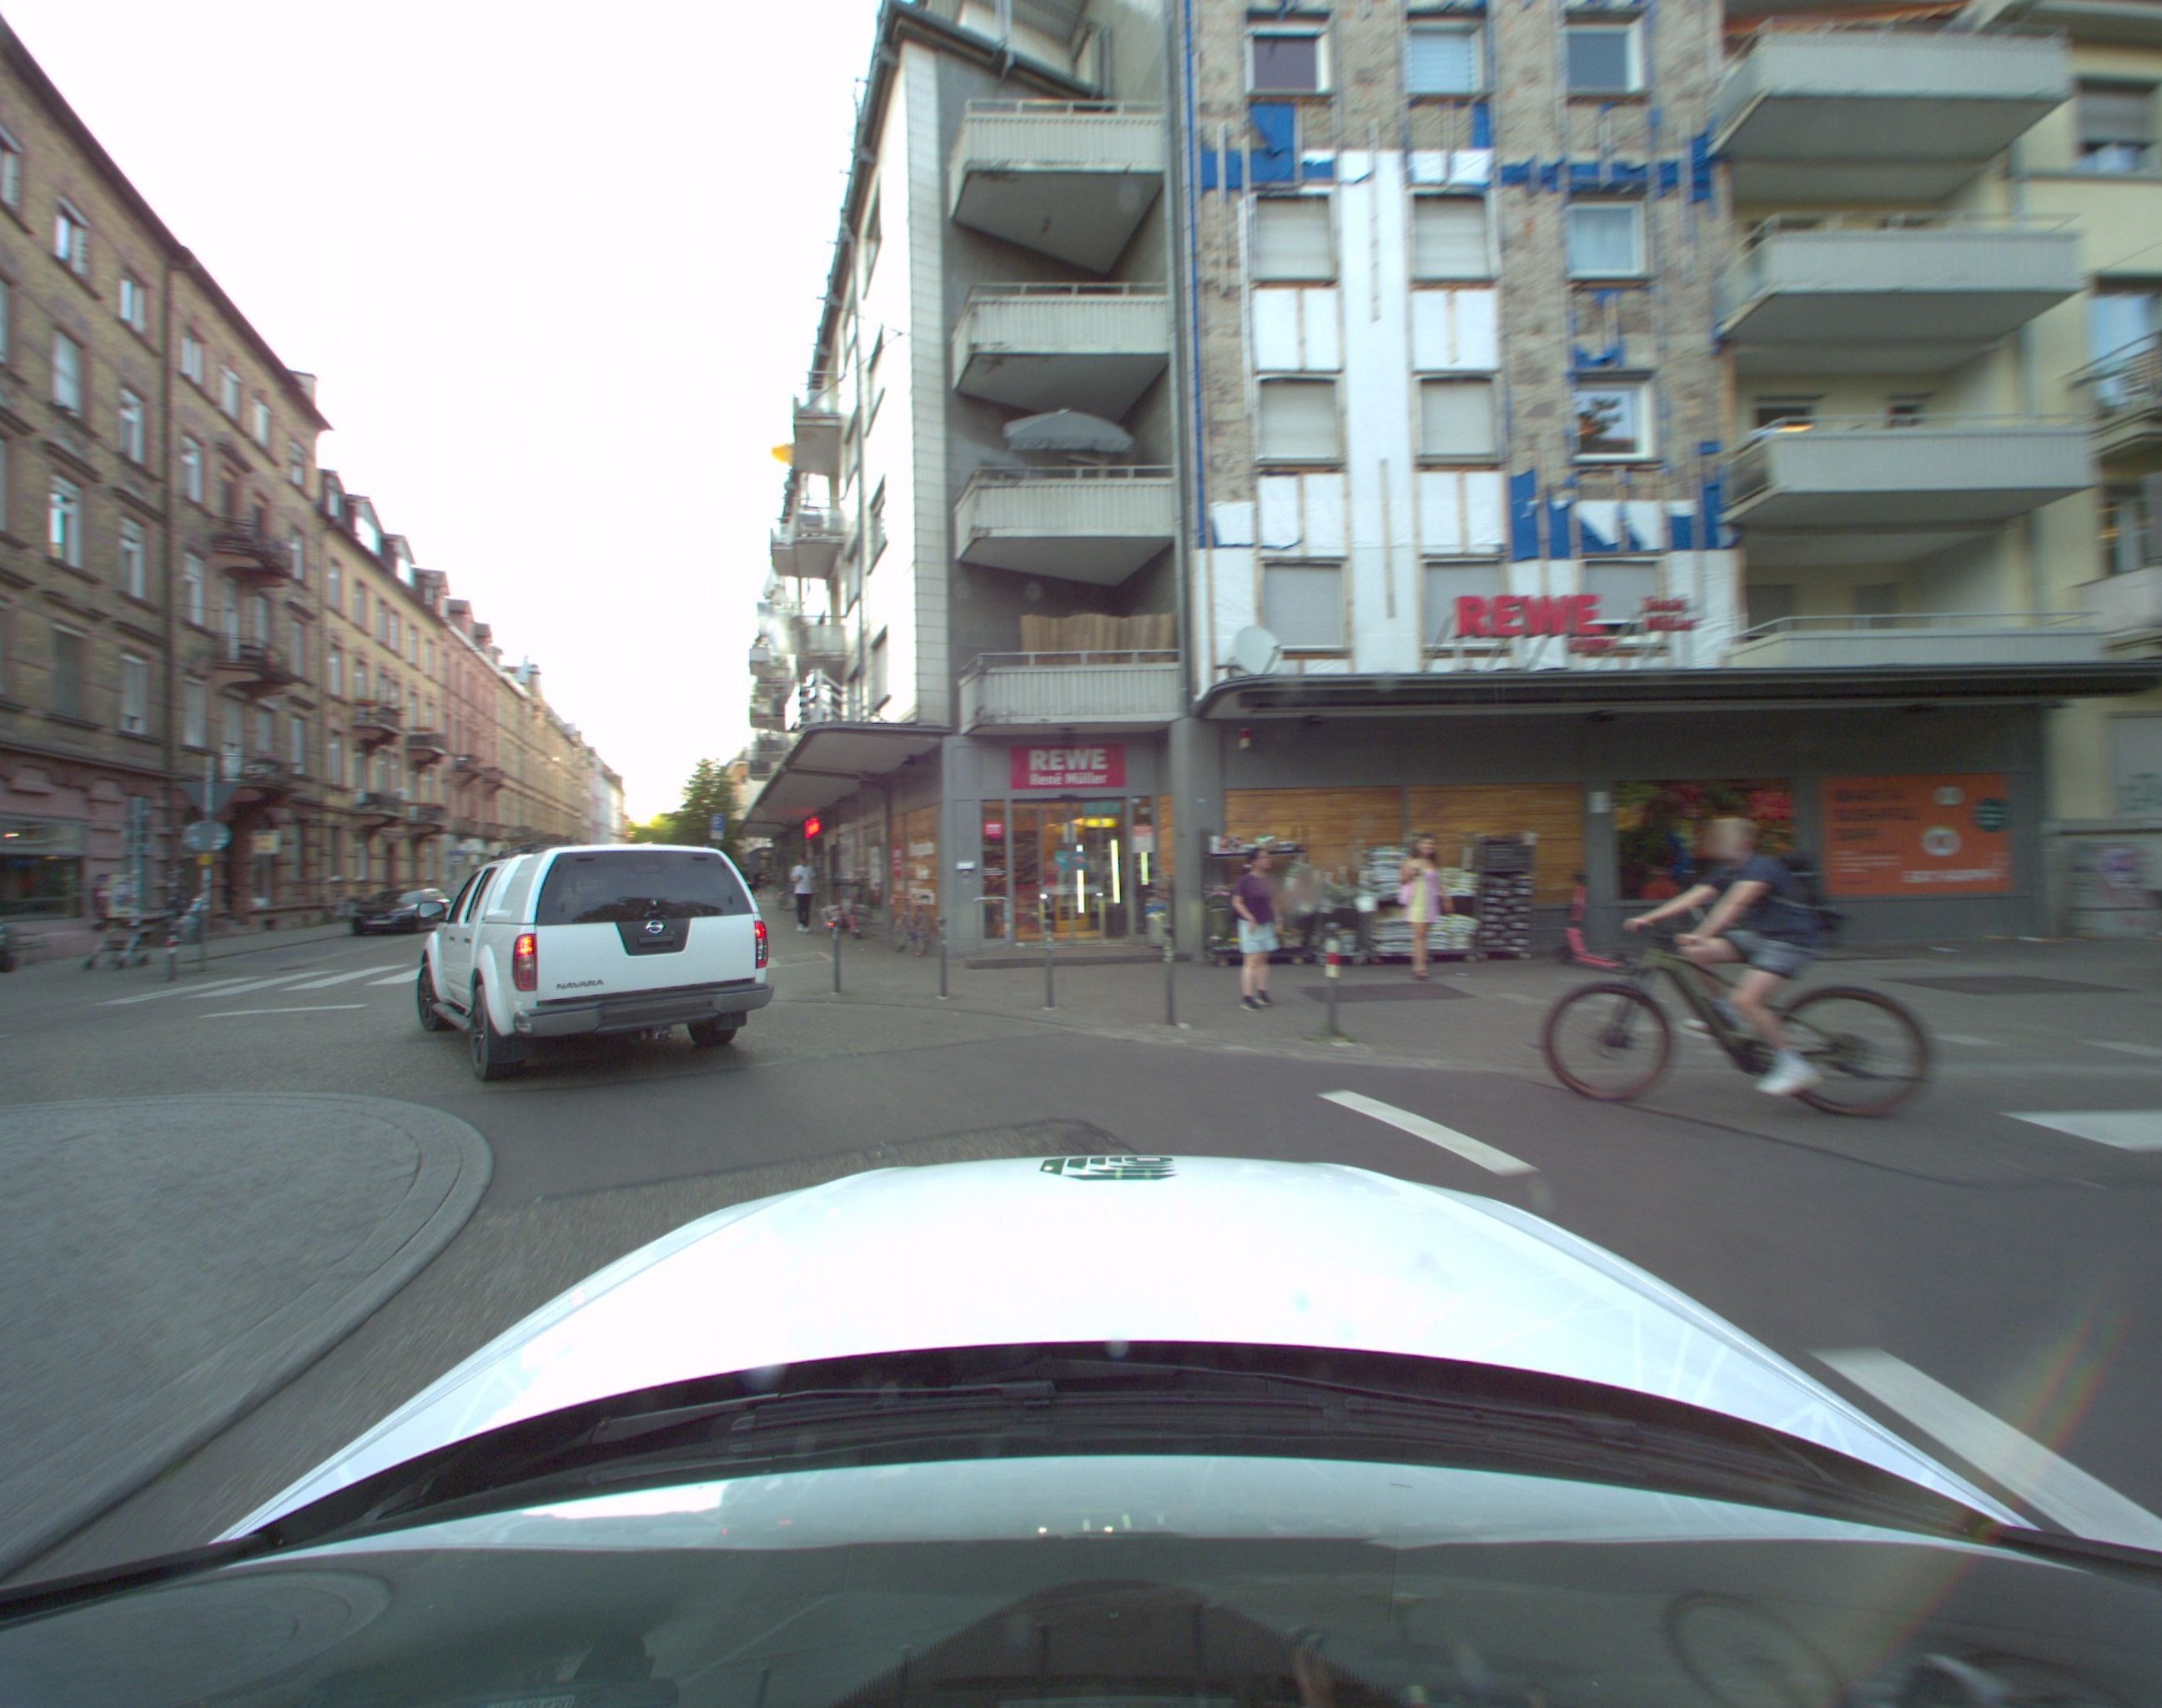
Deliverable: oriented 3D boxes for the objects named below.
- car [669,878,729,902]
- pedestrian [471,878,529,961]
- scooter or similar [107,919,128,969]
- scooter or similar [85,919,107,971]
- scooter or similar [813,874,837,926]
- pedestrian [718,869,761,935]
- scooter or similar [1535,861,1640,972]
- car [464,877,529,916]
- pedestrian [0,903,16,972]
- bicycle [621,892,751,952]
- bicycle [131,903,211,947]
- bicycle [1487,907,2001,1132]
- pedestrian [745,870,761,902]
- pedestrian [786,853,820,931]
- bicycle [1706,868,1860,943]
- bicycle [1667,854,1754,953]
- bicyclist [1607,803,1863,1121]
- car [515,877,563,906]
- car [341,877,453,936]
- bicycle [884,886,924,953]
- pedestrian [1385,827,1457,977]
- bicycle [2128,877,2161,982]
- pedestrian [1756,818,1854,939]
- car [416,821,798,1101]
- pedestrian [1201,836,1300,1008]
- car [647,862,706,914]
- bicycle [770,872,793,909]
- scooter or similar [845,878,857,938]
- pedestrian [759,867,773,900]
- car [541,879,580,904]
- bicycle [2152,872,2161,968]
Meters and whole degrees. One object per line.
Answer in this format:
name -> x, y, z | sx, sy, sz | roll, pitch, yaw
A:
car -> -28.434, 2.662, 60.705 | 4.008, 1.750, 1.824 | 0, -2, -26
pedestrian -> -11.842, 1.312, 16.634 | 0.802, 1.621, 0.936 | 1, -2, -27
scooter or similar -> -19.079, 1.768, 16.121 | 1.249, 0.929, 0.235 | -2, -3, 40
scooter or similar -> -19.246, 1.763, 15.914 | 1.249, 0.929, 0.235 | -2, -3, 40
scooter or similar -> -6.677, 1.180, 21.235 | 0.441, 1.291, 1.655 | 0, -2, -23
pedestrian -> -8.771, 1.220, 20.921 | 0.713, 1.663, 0.707 | -2, -2, 27
scooter or similar -> 6.222, 0.731, 10.066 | 0.321, 1.266, 1.284 | 0, 0, -10
car -> -28.029, 1.989, 39.181 | 1.844, 1.750, 4.127 | 0, -2, -26
pedestrian -> -20.650, 1.572, 15.250 | 0.652, 1.286, 0.535 | 1, -2, -29
bicycle -> -8.595, 1.453, 17.776 | 2.477, 1.038, 0.611 | -4, 0, -30
bicycle -> -23.877, 1.840, 21.419 | 0.389, 1.037, 2.462 | 0, -2, -24
bicycle -> 3.746, 0.890, 4.913 | 2.257, 1.073, 0.795 | -1, 0, 23
pedestrian -> -18.338, 1.781, 45.577 | 0.625, 1.811, 0.787 | 0, -2, -6
pedestrian -> -6.925, 0.941, 20.297 | 0.723, 1.907, 0.697 | 0, -2, -25
bicycle -> 9.949, 0.727, 11.561 | 1.871, 1.027, 0.377 | 0, -2, -2
bicycle -> 8.324, 0.631, 10.837 | 0.345, 1.203, 1.818 | -1, -2, 20
bicyclist -> 3.833, 0.580, 4.887 | 0.986, 1.689, 0.795 | -1, -1, 23
car -> -32.950, 2.261, 49.613 | 1.844, 1.679, 4.002 | 0, -2, -26
car -> -22.147, 1.633, 26.549 | 1.844, 1.750, 3.965 | 0, -2, -26
bicycle -> -3.067, 1.118, 14.084 | 0.291, 1.112, 0.955 | 1, -3, -37
pedestrian -> 4.098, 0.569, 9.854 | 0.659, 1.726, 0.725 | -1, -2, 13
bicycle -> 11.439, 0.738, 8.148 | 1.655, 1.027, 0.377 | 0, -2, -8
pedestrian -> 9.850, 0.335, 11.112 | 0.661, 1.601, 0.718 | -1, -2, 5
car -> -4.750, 0.773, 7.724 | 1.955, 1.810, 4.938 | 0, -2, -45
pedestrian -> 1.738, 0.670, 8.351 | 0.709, 1.652, 0.718 | -2, -3, 42
car -> -15.976, 1.319, 32.252 | 1.952, 1.934, 3.965 | 0, -2, -26
bicycle -> -11.821, 1.444, 32.114 | 0.559, 1.408, 2.076 | 1, -2, -27
scooter or similar -> -5.003, 1.165, 17.715 | 0.220, 1.238, 0.960 | 0, 0, -18
pedestrian -> -17.532, 1.654, 45.331 | 0.635, 1.811, 0.482 | 0, -2, -13
car -> -37.466, 2.683, 58.703 | 1.844, 1.750, 3.965 | 0, -2, -26
bicycle -> 12.467, 0.704, 8.997 | 2.019, 1.027, 0.374 | 0, -2, -27
